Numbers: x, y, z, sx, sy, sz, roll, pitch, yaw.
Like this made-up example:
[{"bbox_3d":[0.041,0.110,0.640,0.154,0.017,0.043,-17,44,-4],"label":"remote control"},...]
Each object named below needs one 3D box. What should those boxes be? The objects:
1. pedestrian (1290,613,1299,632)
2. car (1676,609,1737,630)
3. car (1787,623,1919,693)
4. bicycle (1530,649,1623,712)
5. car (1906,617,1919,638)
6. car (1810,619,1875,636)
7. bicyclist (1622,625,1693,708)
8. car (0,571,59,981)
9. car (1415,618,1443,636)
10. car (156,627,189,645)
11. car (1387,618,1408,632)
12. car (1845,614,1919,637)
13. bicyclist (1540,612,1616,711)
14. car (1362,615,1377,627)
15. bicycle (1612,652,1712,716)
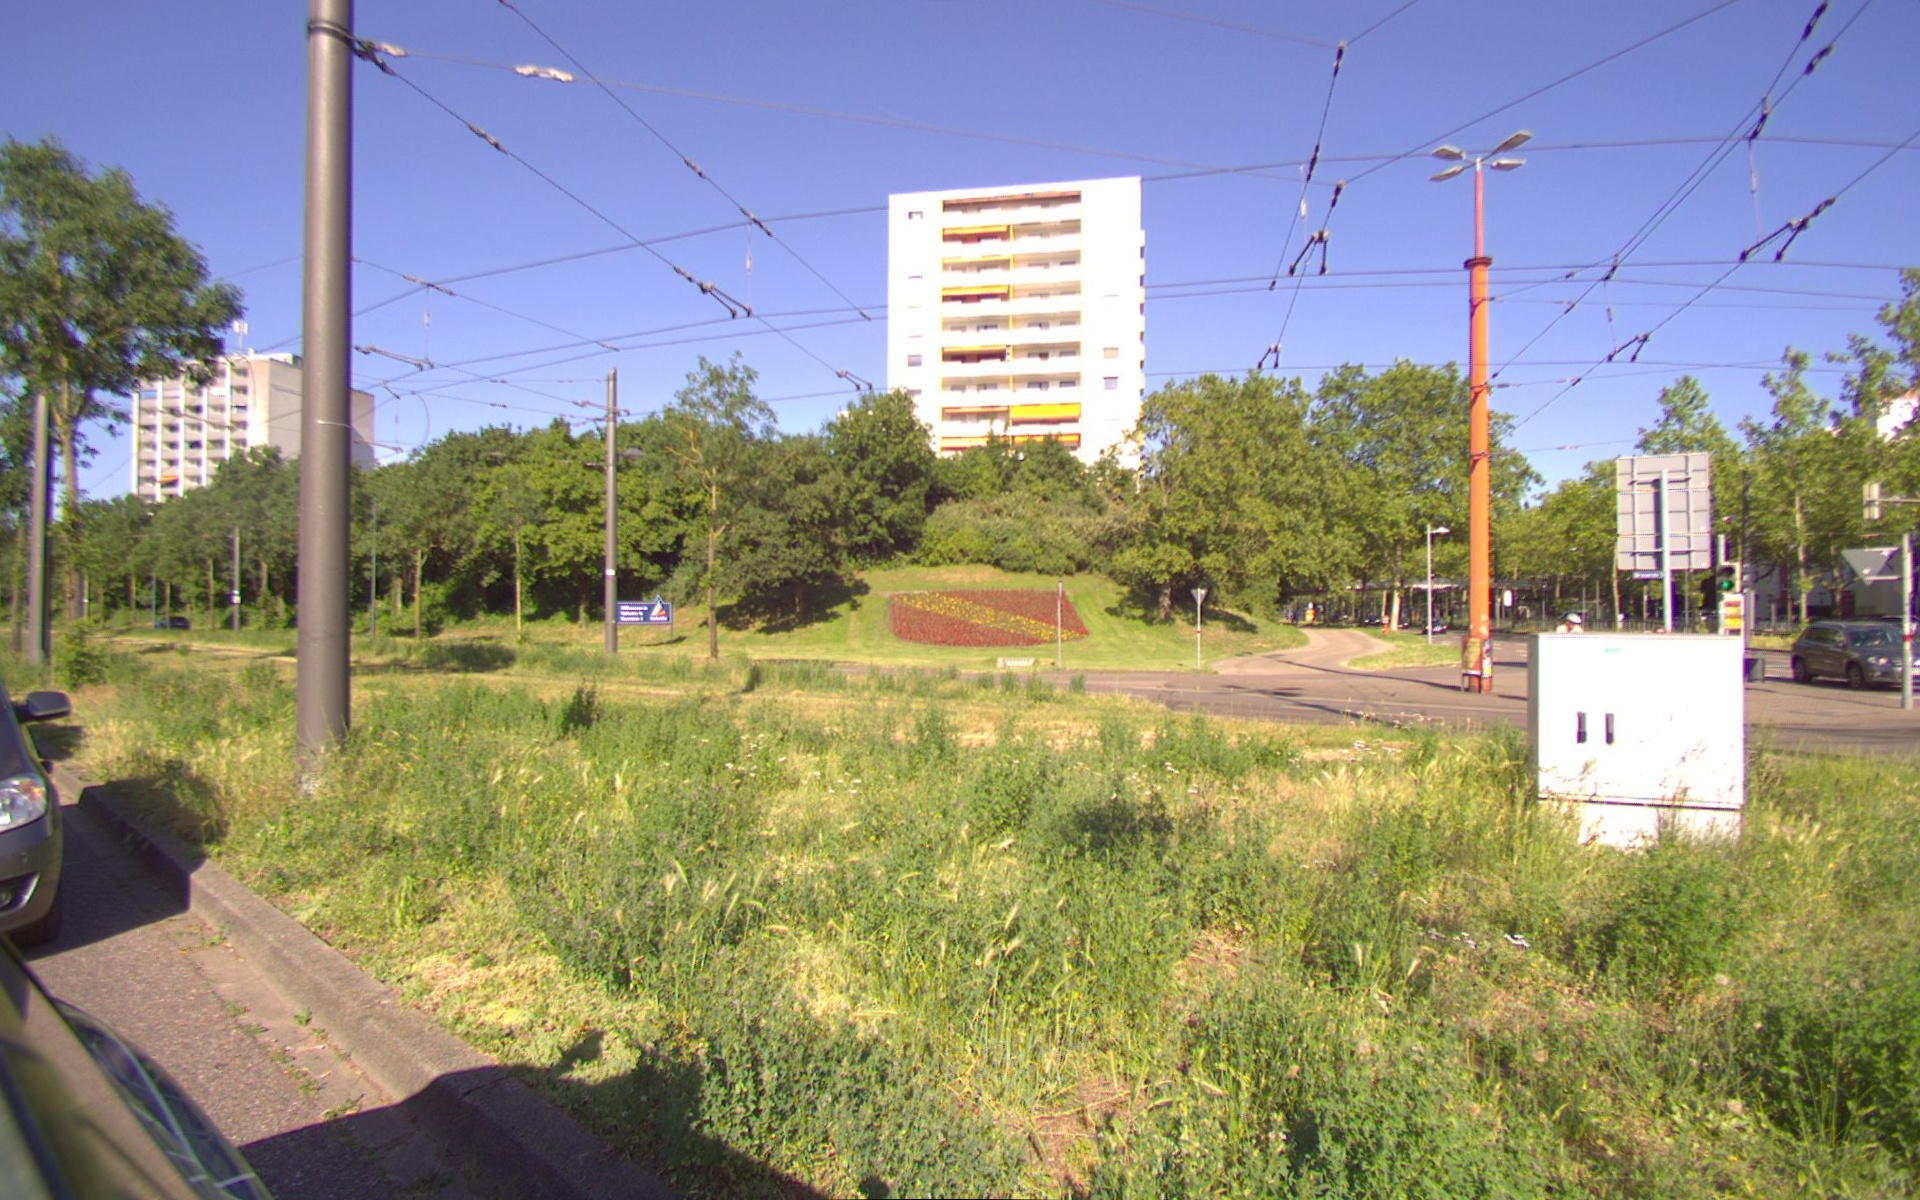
[{"bbox_3d":[28.141,1.883,85.118,0.681,1.568,0.985,-1,-2,19],"label":"pedestrian"},{"bbox_3d":[72.136,1.934,97.874,1.909,1.999,4.350,1,-2,-38],"label":"car"},{"bbox_3d":[23.011,1.390,25.418,1.900,1.507,4.026,-1,0,15],"label":"car"},{"bbox_3d":[12.065,1.546,19.889,0.571,1.079,1.917,-1,0,-3],"label":"bicycle"},{"bbox_3d":[63.681,1.772,65.164,1.472,1.341,3.746,-1,0,-27],"label":"car"},{"bbox_3d":[64.399,1.984,73.848,1.425,1.197,3.423,-1,0,-41],"label":"car"},{"bbox_3d":[13.487,1.263,19.586,0.710,1.536,0.924,-1,0,0],"label":"bicyclist"},{"bbox_3d":[-5.828,0.751,4.889,3.998,1.652,1.726,-1,0,41],"label":"car"},{"bbox_3d":[40.281,2.333,86.976,1.905,1.507,3.971,-1,-1,21],"label":"car"},{"bbox_3d":[-66.659,3.038,85.663,3.908,1.431,1.557,-2,-1,42],"label":"car"},{"bbox_3d":[49.300,2.827,113.989,1.904,1.507,3.973,-1,0,20],"label":"car"},{"bbox_3d":[63.795,1.738,69.996,1.589,1.471,3.656,-1,0,-38],"label":"car"},{"bbox_3d":[12.111,1.190,19.872,0.880,1.881,0.924,-1,0,-2],"label":"bicyclist"},{"bbox_3d":[56.175,2.895,138.889,1.833,1.507,3.973,-1,0,20],"label":"car"},{"bbox_3d":[13.500,1.594,19.537,0.571,1.079,1.916,-1,0,0],"label":"bicycle"}]
